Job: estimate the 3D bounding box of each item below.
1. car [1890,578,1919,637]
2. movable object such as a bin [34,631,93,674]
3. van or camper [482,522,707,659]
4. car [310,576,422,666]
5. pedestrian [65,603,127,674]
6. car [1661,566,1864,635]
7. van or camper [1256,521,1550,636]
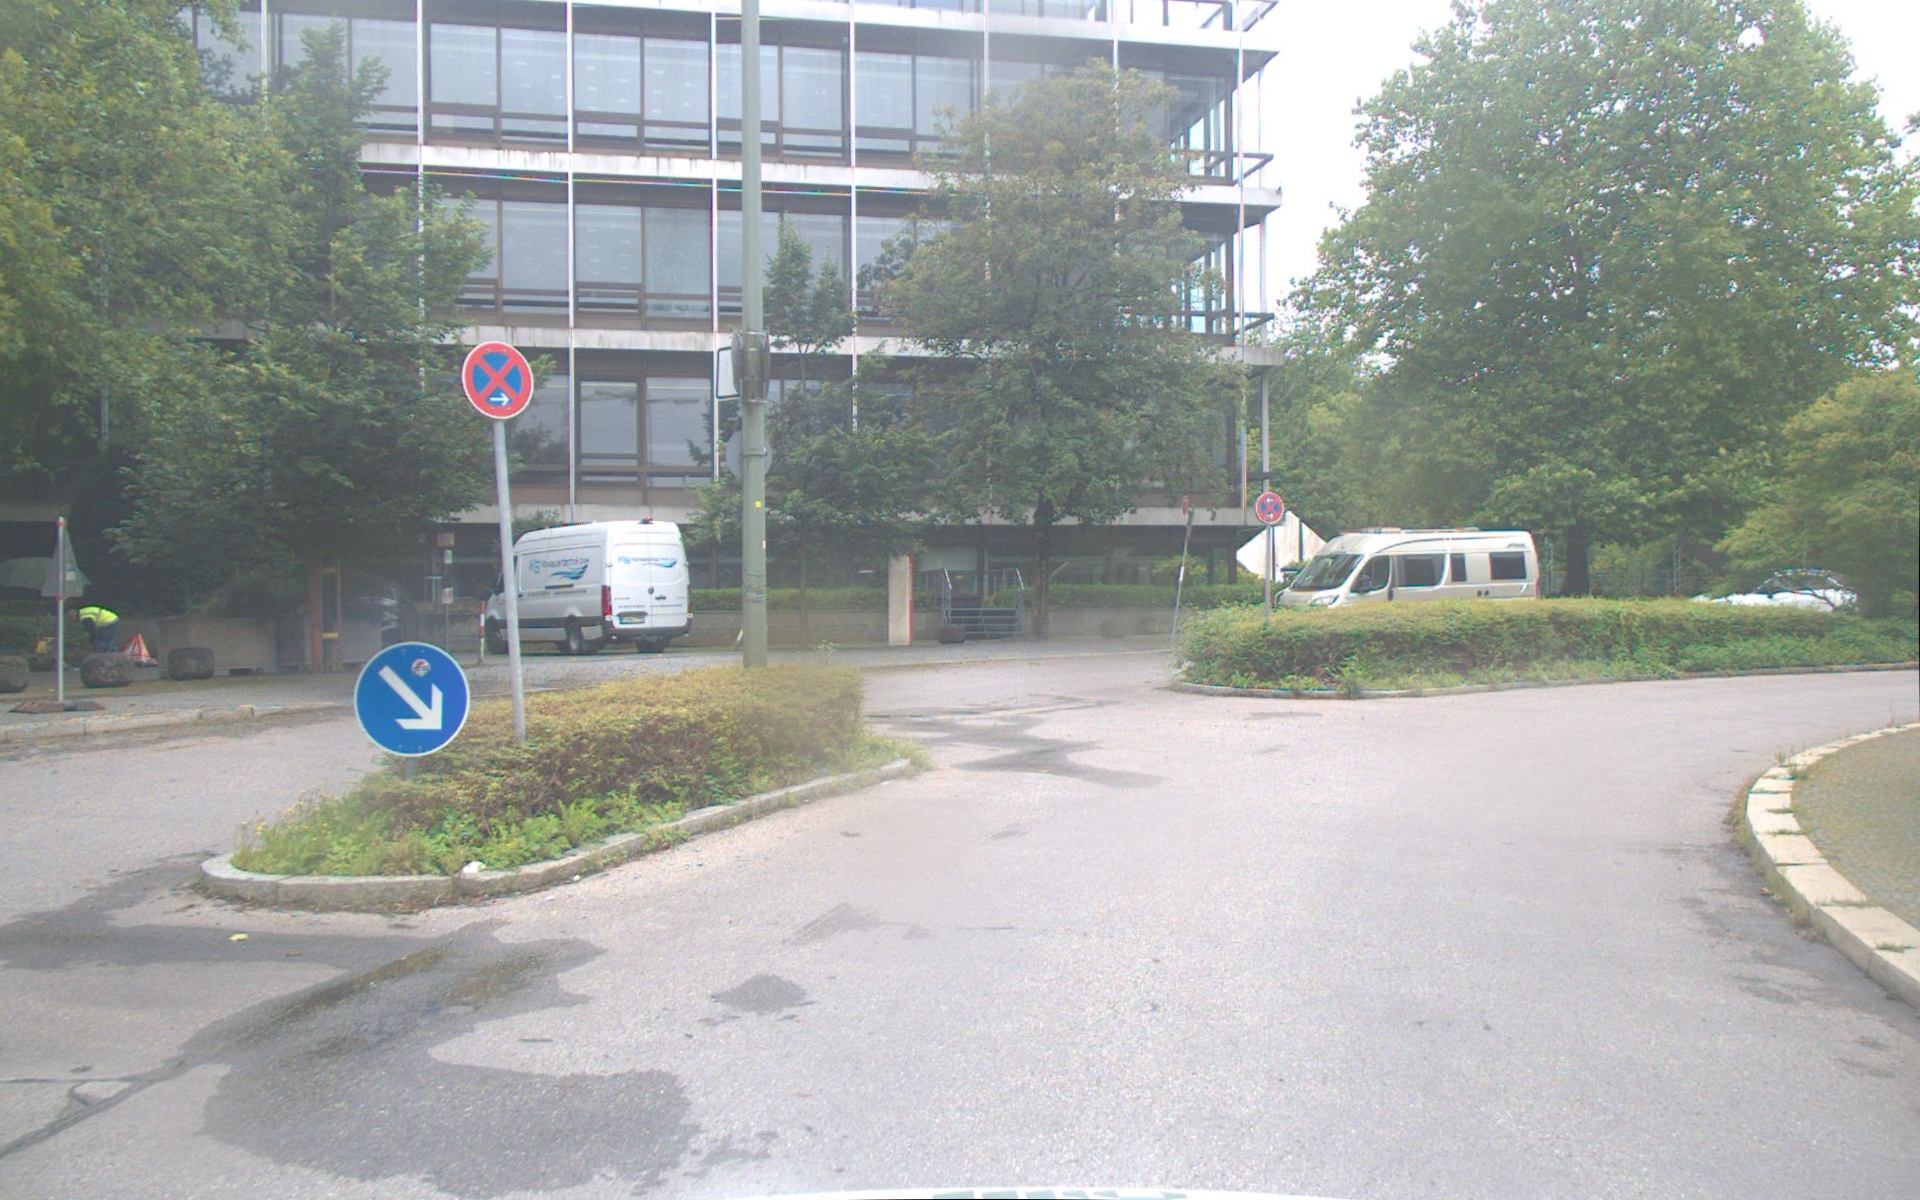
[{"bbox_3d":[25.047,0.149,40.205,3.916,1.434,1.995,-1,0,-11],"label":"car"},{"bbox_3d":[-16.662,0.969,30.738,0.819,0.766,0.571,0,0,-10],"label":"movable object such as a bin"},{"bbox_3d":[-7.864,-0.097,34.965,2.140,2.626,6.450,0,-2,-37],"label":"van or camper"},{"bbox_3d":[-12.399,0.407,34.759,1.910,1.751,4.220,-1,0,-16],"label":"car"},{"bbox_3d":[-16.124,0.714,30.884,0.909,1.300,0.540,0,0,-11],"label":"pedestrian"},{"bbox_3d":[18.913,0.004,39.052,3.916,1.534,1.995,-1,0,-11],"label":"car"},{"bbox_3d":[9.660,-0.458,35.913,6.320,2.321,2.236,0,0,-27],"label":"van or camper"}]
